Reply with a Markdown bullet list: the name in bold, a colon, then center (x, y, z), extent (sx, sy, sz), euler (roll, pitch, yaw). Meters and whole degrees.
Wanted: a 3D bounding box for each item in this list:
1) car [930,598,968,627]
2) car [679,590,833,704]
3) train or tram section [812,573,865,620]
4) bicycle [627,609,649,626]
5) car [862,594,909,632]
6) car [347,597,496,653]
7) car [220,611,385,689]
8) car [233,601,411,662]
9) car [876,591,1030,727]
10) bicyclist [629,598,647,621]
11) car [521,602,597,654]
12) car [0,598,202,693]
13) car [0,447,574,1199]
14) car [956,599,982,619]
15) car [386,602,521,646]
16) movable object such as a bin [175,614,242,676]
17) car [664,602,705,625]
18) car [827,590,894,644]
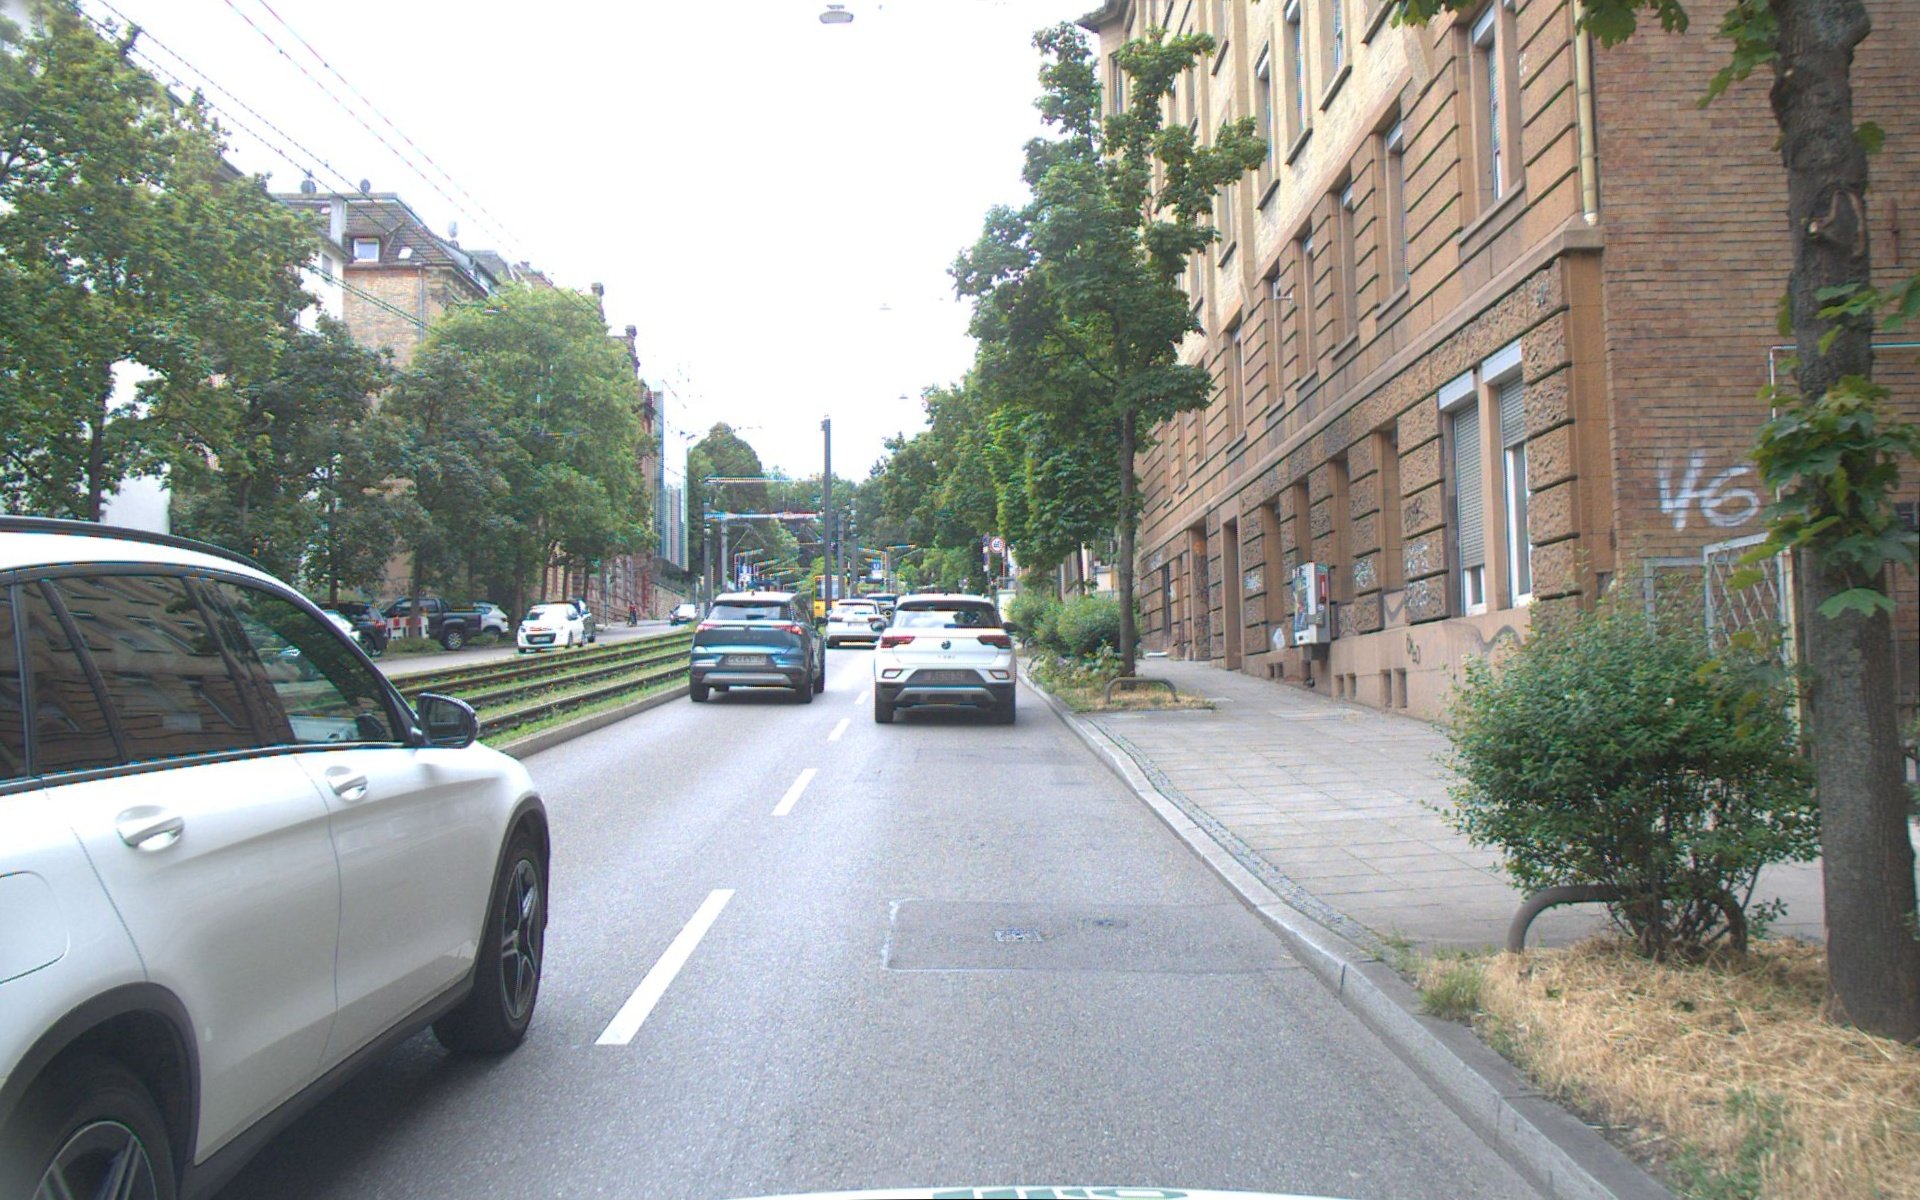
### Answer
- **car**: center (-0.589, 0.673, 91.075), extent (2.026, 1.573, 4.193), euler (0, 0, 0)
- **car**: center (-2.995, 0.652, 25.073), extent (1.798, 1.573, 4.193), euler (0, 0, 0)
- **train or tram section**: center (-9.285, -0.265, 127.825), extent (2.934, 3.407, 13.439), euler (-1, 0, 0)
- **bicycle**: center (-21.362, 1.148, 109.755), extent (0.919, 1.119, 2.702), euler (-1, 0, -1)
- **car**: center (-3.156, 0.532, 70.704), extent (1.798, 1.573, 4.193), euler (0, 0, 0)
- **car**: center (-18.570, 0.850, 57.205), extent (1.902, 1.829, 4.578), euler (0, 0, 42)
- **car**: center (-14.354, 1.045, 36.371), extent (1.828, 1.460, 4.492), euler (-4, 0, -1)
- **car**: center (-18.551, 0.900, 48.189), extent (4.551, 1.711, 1.913), euler (1, 0, -34)
- **car**: center (-0.132, 0.696, 21.460), extent (1.798, 1.573, 4.192), euler (0, 0, -1)
- **bicyclist**: center (-21.381, 0.618, 109.800), extent (0.919, 1.450, 1.188), euler (-1, 0, -1)
- **car**: center (-12.522, 0.854, 51.769), extent (1.556, 1.460, 3.412), euler (-3, 0, -1)
- **car**: center (-18.513, 0.937, 35.353), extent (4.129, 1.868, 1.855), euler (-1, 0, -28)
- **car**: center (-2.317, 0.623, 3.863), extent (1.798, 1.696, 4.669), euler (0, 0, -1)
- **car**: center (0.711, 0.712, 133.286), extent (2.026, 1.573, 4.193), euler (0, 0, 0)
- **car**: center (-19.300, 0.903, 63.086), extent (4.553, 1.646, 1.913), euler (1, 0, -35)
- **movable object such as a bin**: center (-17.454, 1.033, 38.441), extent (1.254, 1.425, 1.091), euler (0, 0, -16)
- **car**: center (-18.213, 0.871, 109.439), extent (1.952, 1.427, 4.000), euler (-1, 0, 0)
- **car**: center (-3.001, 0.498, 50.681), extent (1.798, 1.573, 4.193), euler (0, 0, 0)
